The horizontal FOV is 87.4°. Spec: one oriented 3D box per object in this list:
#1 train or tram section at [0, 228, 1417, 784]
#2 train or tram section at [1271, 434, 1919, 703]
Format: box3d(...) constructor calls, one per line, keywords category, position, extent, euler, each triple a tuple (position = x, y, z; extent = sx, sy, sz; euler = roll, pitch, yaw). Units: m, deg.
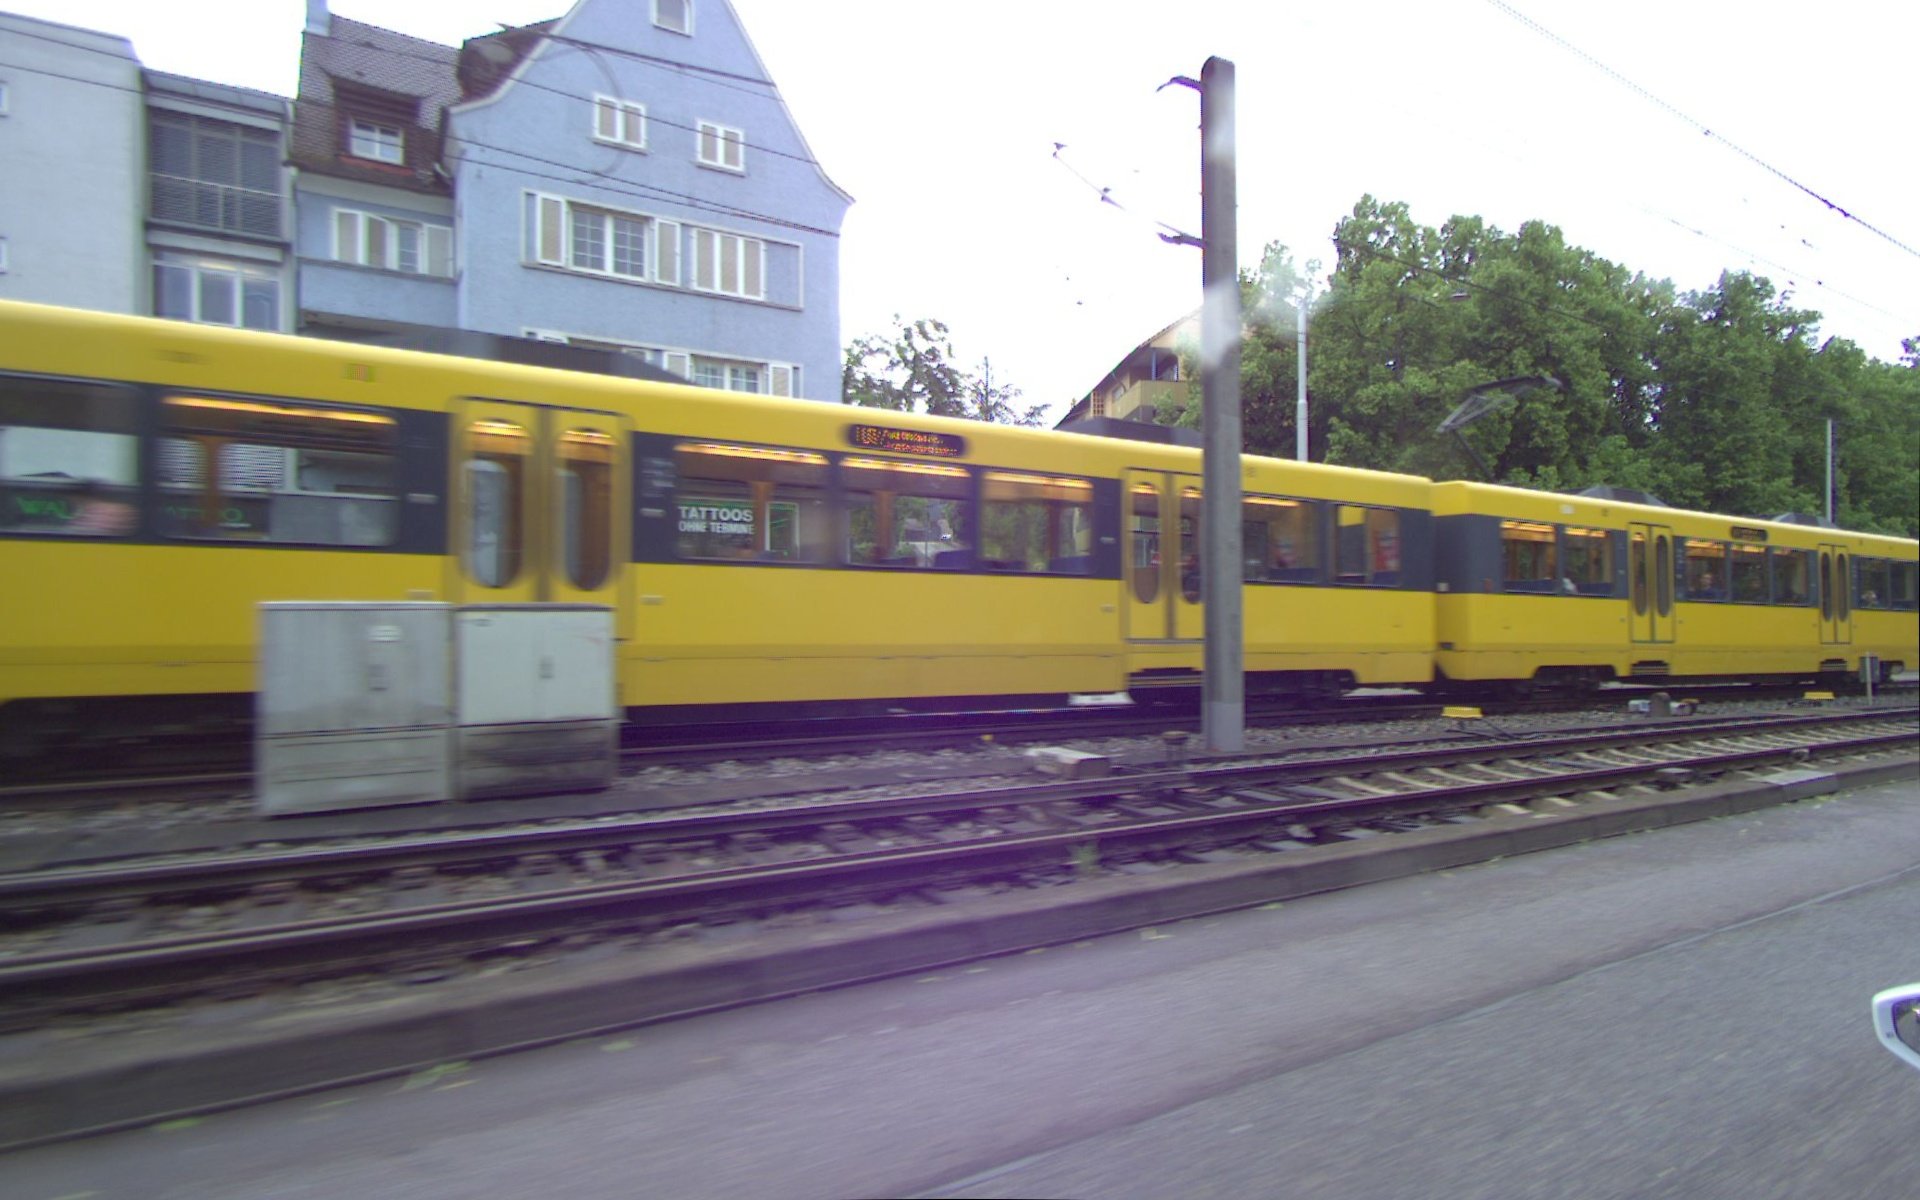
box3d(category="train or tram section", position=(-2.396, -0.578, 11.073), extent=(18.865, 3.861, 2.955), euler=(1, 0, -29))
box3d(category="train or tram section", position=(14.405, -0.327, 20.477), extent=(19.281, 3.861, 2.955), euler=(1, 0, -29))
